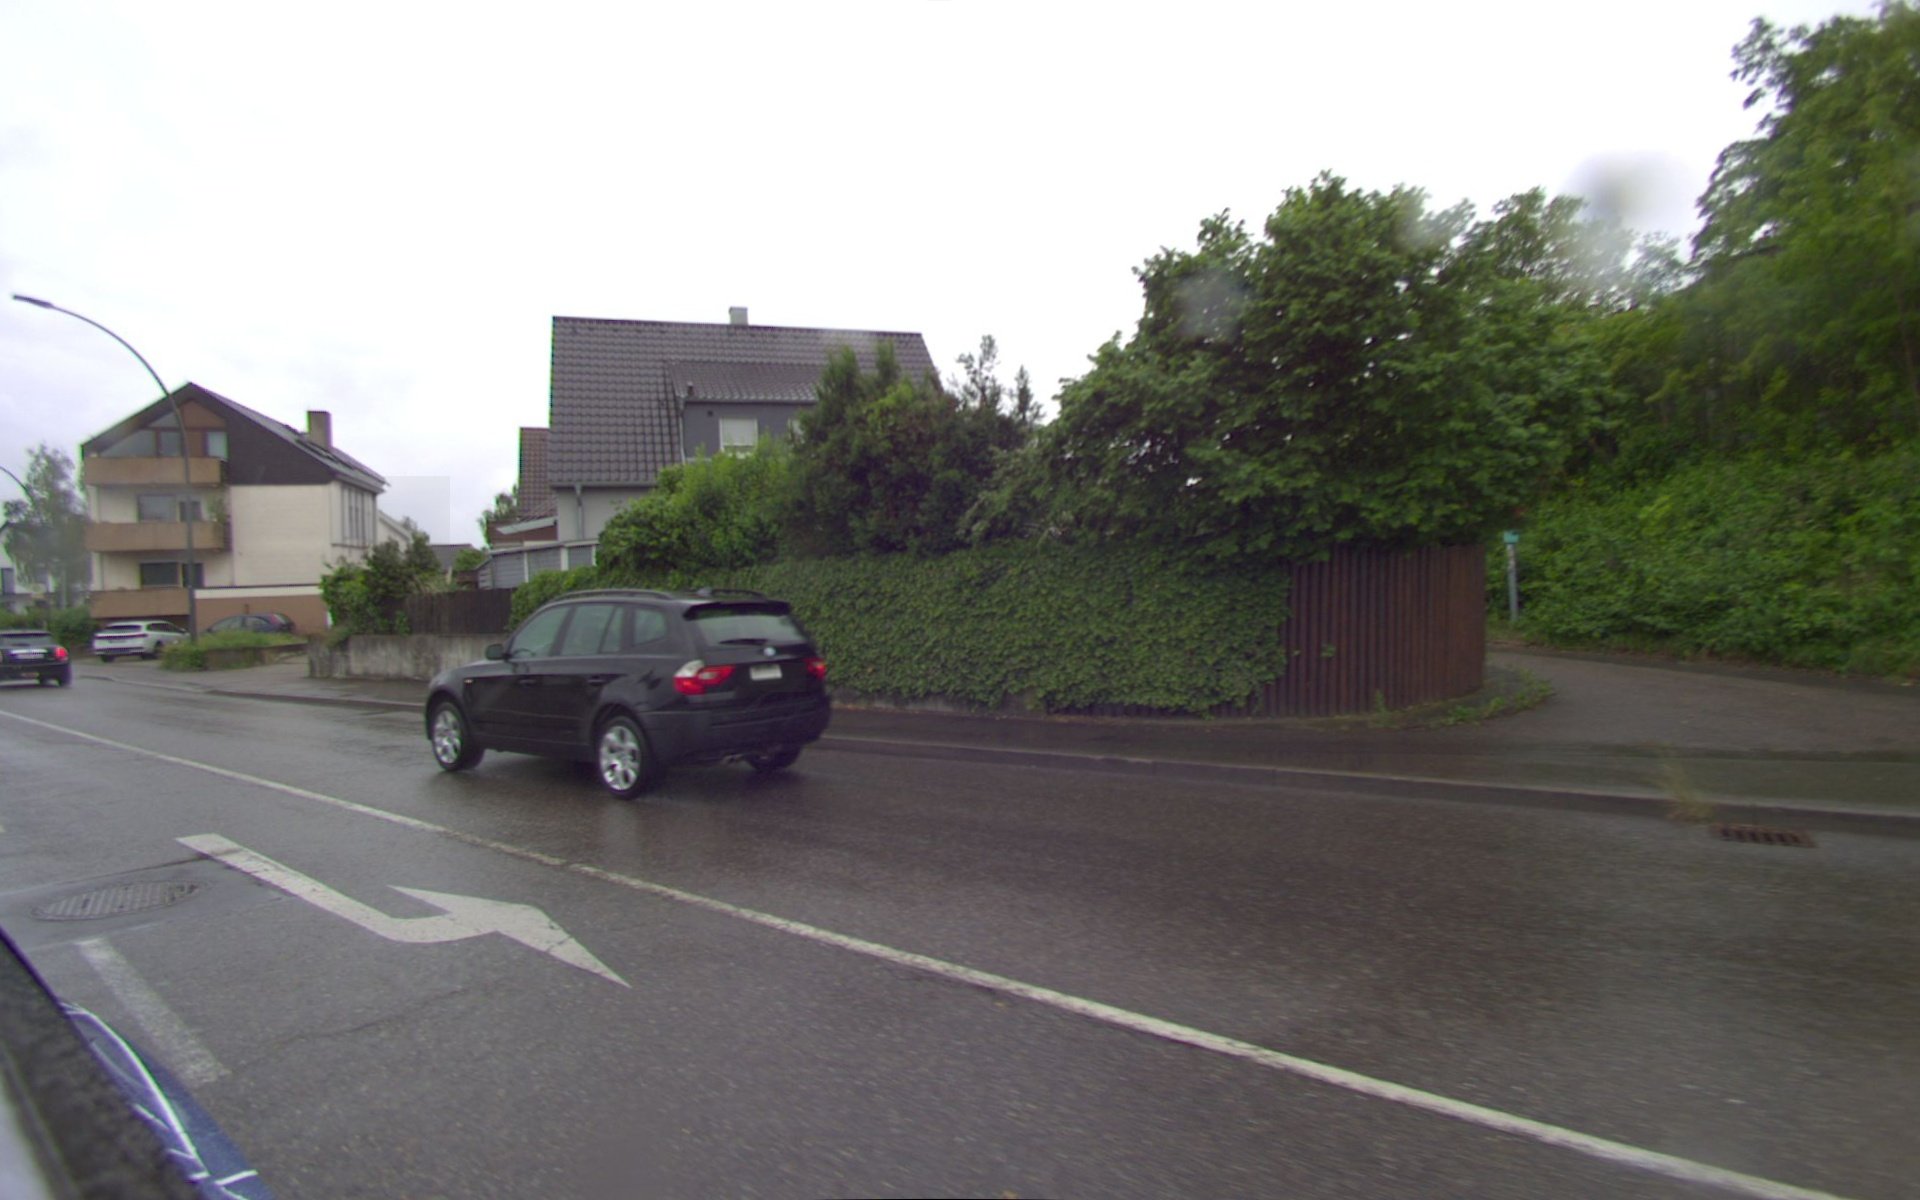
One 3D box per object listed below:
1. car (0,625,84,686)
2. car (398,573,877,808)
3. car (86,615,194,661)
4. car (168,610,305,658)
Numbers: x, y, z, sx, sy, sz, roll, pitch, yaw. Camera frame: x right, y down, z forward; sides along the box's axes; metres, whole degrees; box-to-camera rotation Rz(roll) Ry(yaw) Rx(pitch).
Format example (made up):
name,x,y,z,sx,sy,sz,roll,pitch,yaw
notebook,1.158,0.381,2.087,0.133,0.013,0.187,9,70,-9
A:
name,x,y,z,sx,sy,sz,roll,pitch,yaw
car,-24.376,1.378,26.091,4.619,1.415,1.974,-1,0,39
car,-3.089,0.654,9.337,4.407,1.680,1.976,-1,0,36
car,-31.535,1.420,39.052,1.837,1.530,4.012,-1,0,-17
car,-25.968,1.202,36.443,3.609,1.530,1.759,-1,0,-14
